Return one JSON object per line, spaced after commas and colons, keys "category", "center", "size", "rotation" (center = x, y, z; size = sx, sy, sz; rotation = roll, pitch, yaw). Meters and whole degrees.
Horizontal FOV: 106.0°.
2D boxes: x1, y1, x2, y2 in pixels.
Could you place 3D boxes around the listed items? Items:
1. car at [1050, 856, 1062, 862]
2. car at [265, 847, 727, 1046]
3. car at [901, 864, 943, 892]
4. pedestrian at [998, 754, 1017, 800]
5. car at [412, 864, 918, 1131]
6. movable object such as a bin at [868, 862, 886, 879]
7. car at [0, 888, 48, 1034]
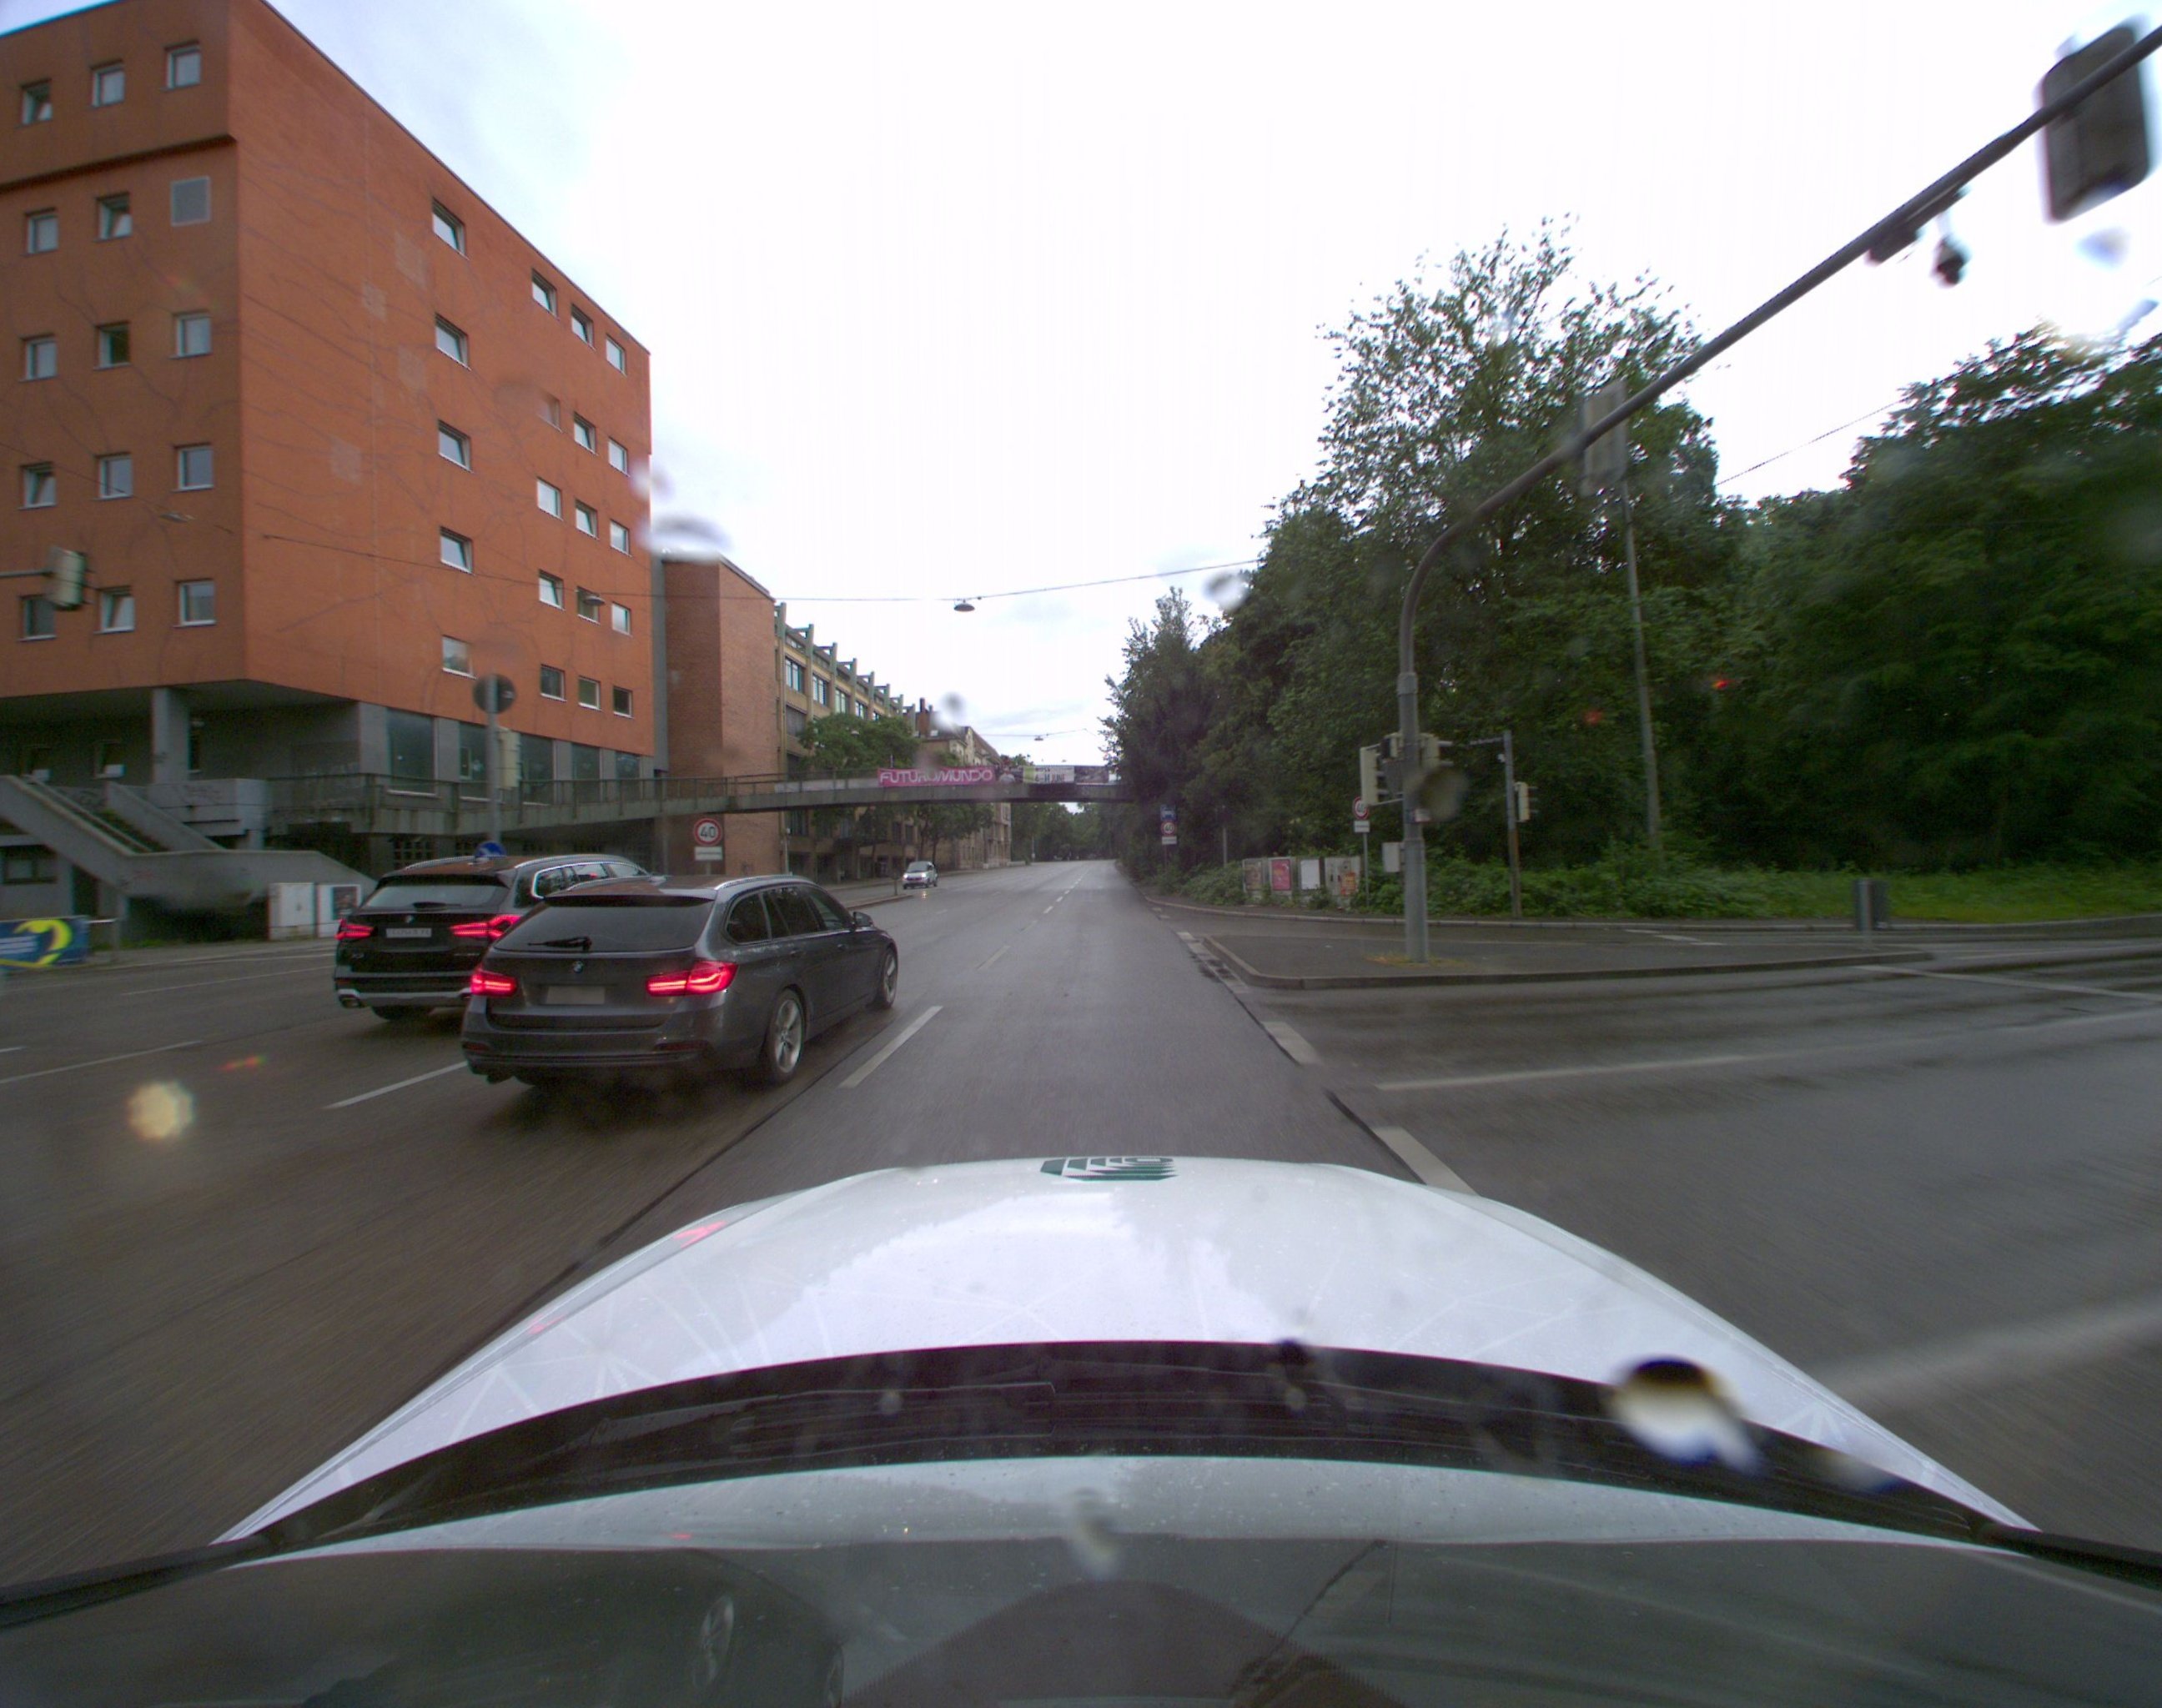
{"category": "car", "center": [-7.344, 1.415, 240.858], "size": [3.572, 1.547, 1.615], "rotation": [1, -1, 3]}
{"category": "car", "center": [-5.979, 0.812, 9.196], "size": [1.802, 1.656, 4.447], "rotation": [1, -1, 3]}
{"category": "car", "center": [-9.296, 1.397, 47.854], "size": [1.594, 1.499, 3.713], "rotation": [-2, -1, 2]}
{"category": "pedestrian", "center": [-3.973, -4.151, 43.819], "size": [0.952, 2.345, 1.005], "rotation": [1, -1, -4]}
{"category": "car", "center": [-2.805, 0.841, 6.826], "size": [1.769, 1.458, 4.480], "rotation": [-1, -1, 2]}
{"category": "movable object such as a bin", "center": [-18.775, 1.472, 74.940], "size": [1.277, 1.518, 1.273], "rotation": [-1, 0, 2]}
{"category": "car", "center": [-11.373, 1.053, 5.991], "size": [1.823, 1.393, 4.407], "rotation": [-2, -1, 2]}
